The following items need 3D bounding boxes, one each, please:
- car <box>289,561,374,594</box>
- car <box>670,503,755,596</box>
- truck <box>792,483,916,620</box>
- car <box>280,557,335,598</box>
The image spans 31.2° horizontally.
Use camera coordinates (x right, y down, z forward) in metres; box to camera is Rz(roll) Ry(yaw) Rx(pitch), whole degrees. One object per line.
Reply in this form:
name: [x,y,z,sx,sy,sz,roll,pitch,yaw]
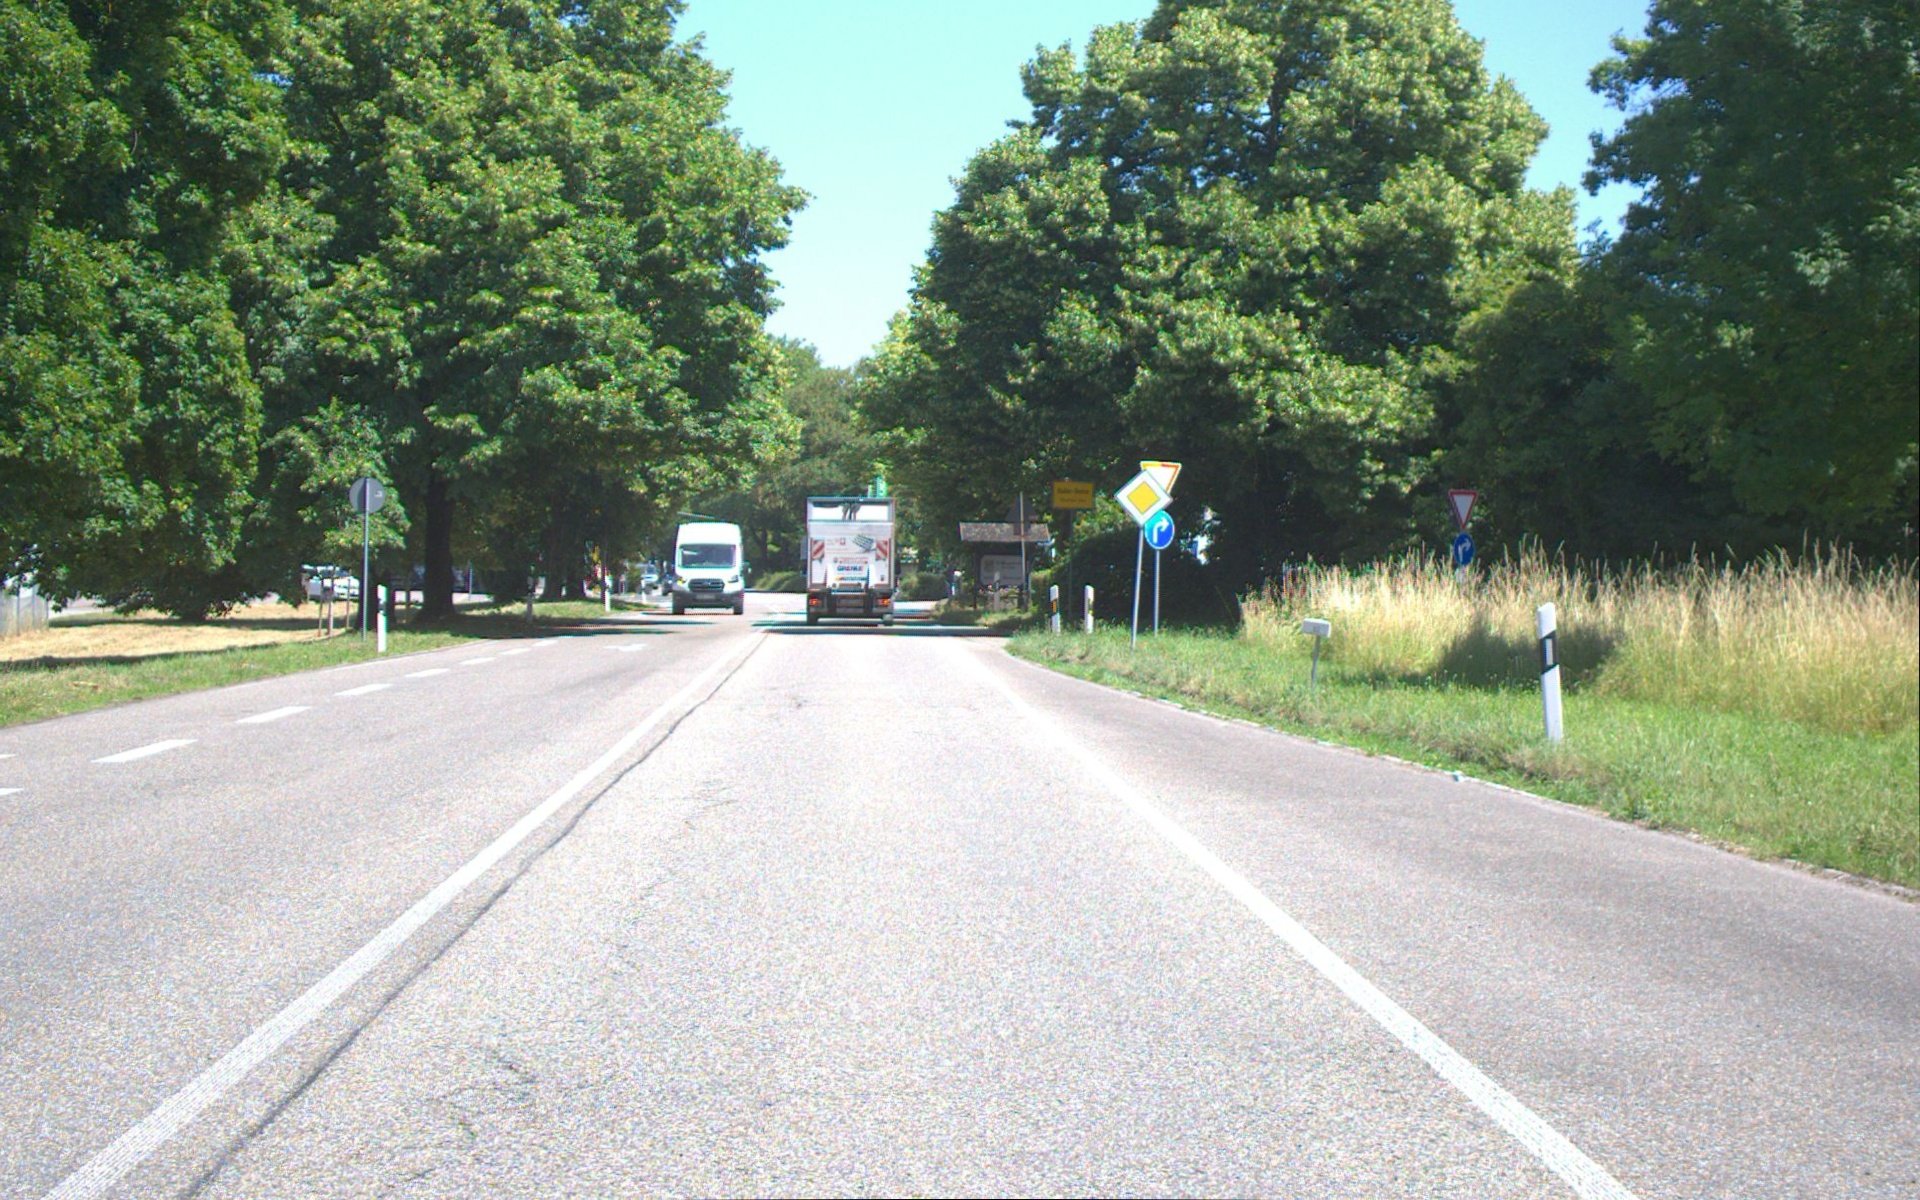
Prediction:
car: [-26.033,-0.948,142.364,3.428,1.357,1.333,0,0,29]
car: [-7.242,-1.460,101.125,2.073,2.618,6.784,0,0,-1]
truck: [-2.446,-1.166,80.947,2.534,3.124,5.361,0,1,2]
car: [-25.891,-0.896,136.414,1.735,1.579,4.001,0,1,-17]
